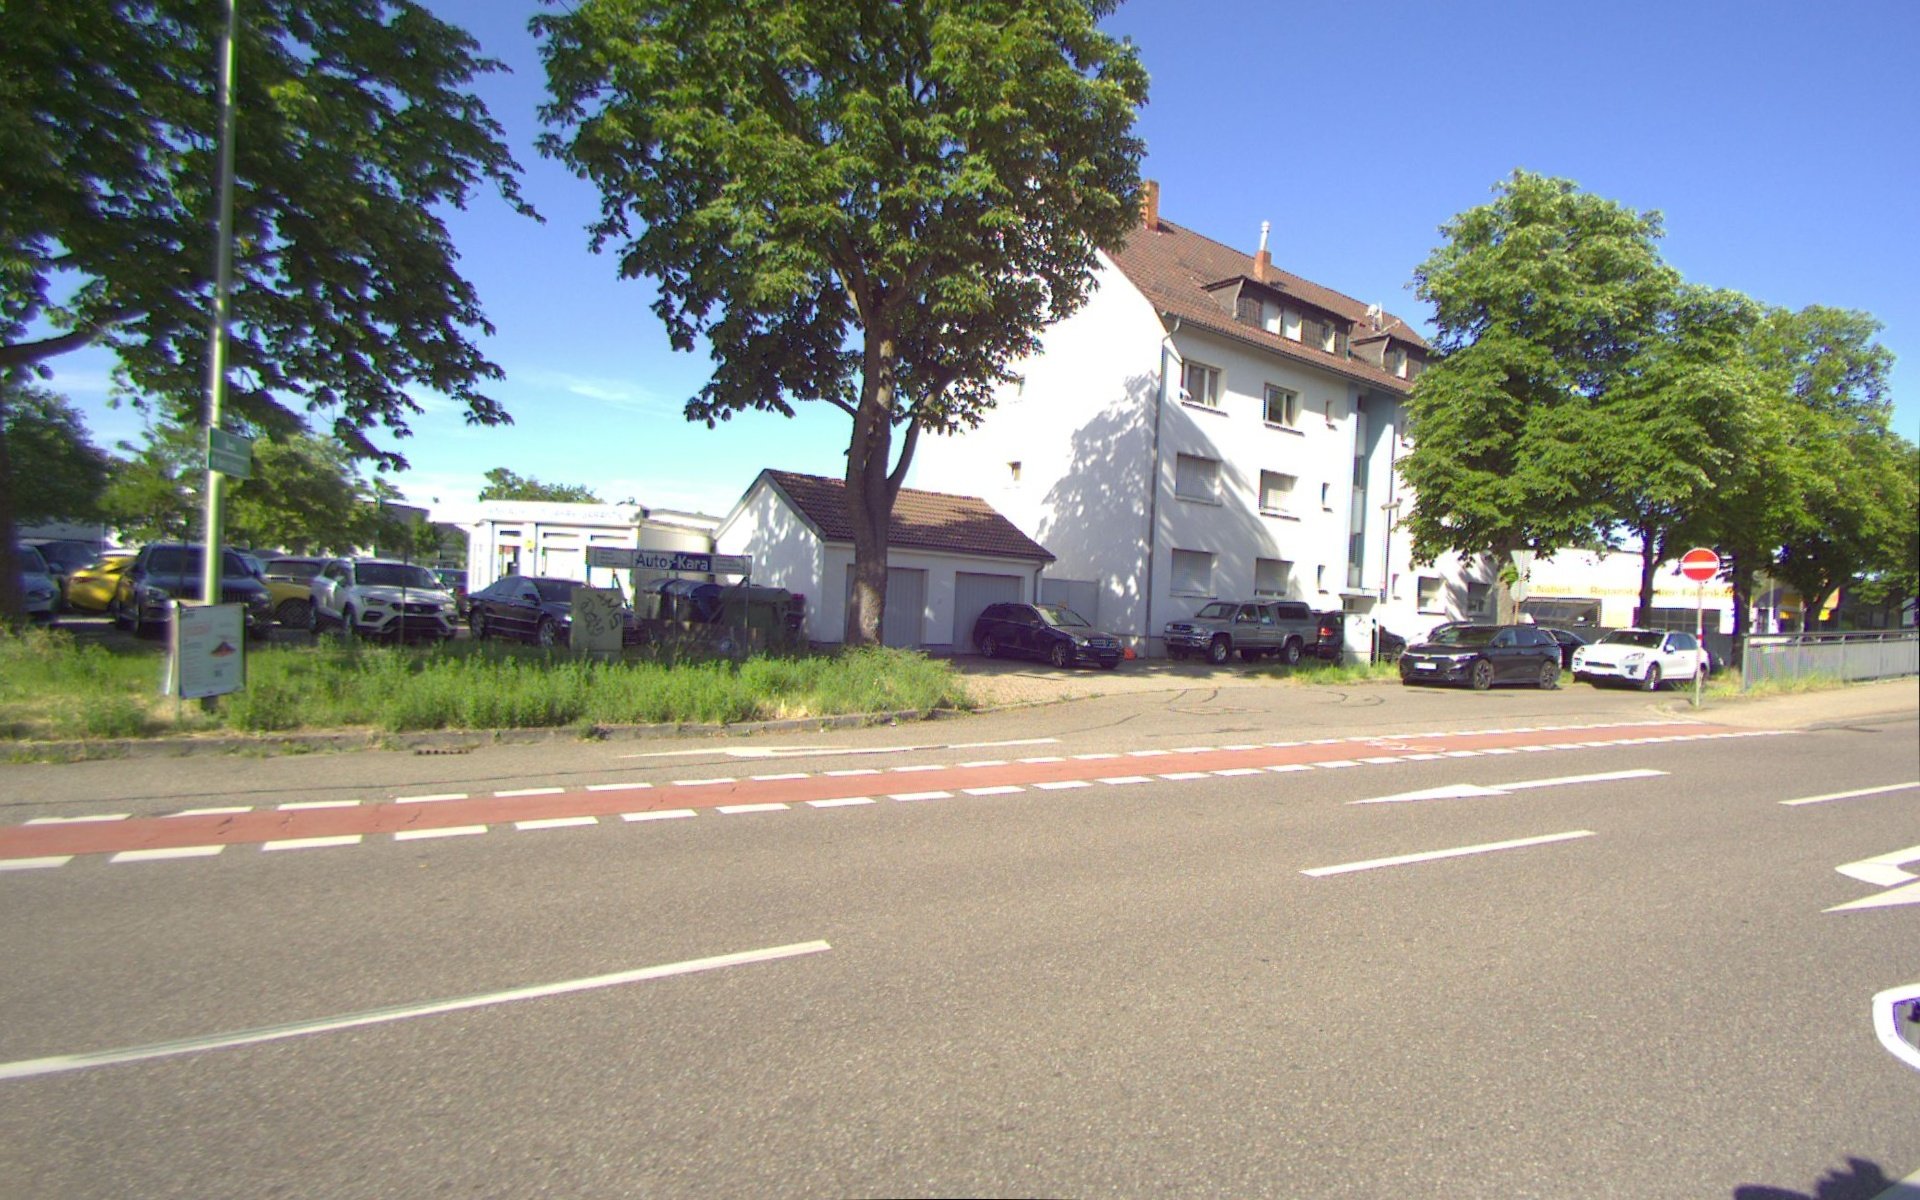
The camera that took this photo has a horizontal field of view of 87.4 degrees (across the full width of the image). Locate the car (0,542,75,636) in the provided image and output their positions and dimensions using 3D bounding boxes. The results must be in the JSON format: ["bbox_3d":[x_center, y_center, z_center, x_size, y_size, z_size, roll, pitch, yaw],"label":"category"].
[{"bbox_3d":[-16.086,-0.245,16.536,3.825,1.431,1.935,3,1,43],"label":"car"}]

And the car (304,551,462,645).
[{"bbox_3d":[-11.374,-0.084,19.669,1.908,1.632,3.951,2,1,-41],"label":"car"}]

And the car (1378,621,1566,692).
[{"bbox_3d":[12.573,1.370,24.570,4.913,1.483,2.024,3,0,-35],"label":"car"}]

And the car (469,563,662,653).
[{"bbox_3d":[-8.203,0.117,20.698,4.341,1.596,1.806,3,1,40],"label":"car"}]

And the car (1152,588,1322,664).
[{"bbox_3d":[7.959,0.768,28.625,5.050,1.956,1.736,3,0,-34],"label":"car"}]

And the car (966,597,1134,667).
[{"bbox_3d":[2.143,0.757,24.747,1.891,1.448,3.956,3,0,-38],"label":"car"}]

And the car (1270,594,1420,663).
[{"bbox_3d":[12.116,0.916,31.519,4.740,1.956,2.056,3,1,-35],"label":"car"}]

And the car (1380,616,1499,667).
[{"bbox_3d":[16.844,1.408,35.284,3.603,1.530,1.781,3,1,29],"label":"car"}]

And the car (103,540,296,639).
[{"bbox_3d":[-13.648,-0.224,17.952,3.941,1.581,1.990,3,1,41],"label":"car"}]

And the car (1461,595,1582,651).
[{"bbox_3d":[28.231,1.176,50.471,5.806,2.595,2.126,2,0,-23],"label":"car"}]

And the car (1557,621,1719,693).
[{"bbox_3d":[19.421,1.617,28.701,5.184,1.752,2.024,3,1,-35],"label":"car"}]

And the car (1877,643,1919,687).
[{"bbox_3d":[47.263,3.191,49.534,4.210,2.018,1.913,2,1,-32],"label":"car"}]

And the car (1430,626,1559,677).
[{"bbox_3d":[19.512,1.824,36.718,3.933,1.619,1.994,1,0,35],"label":"car"}]
